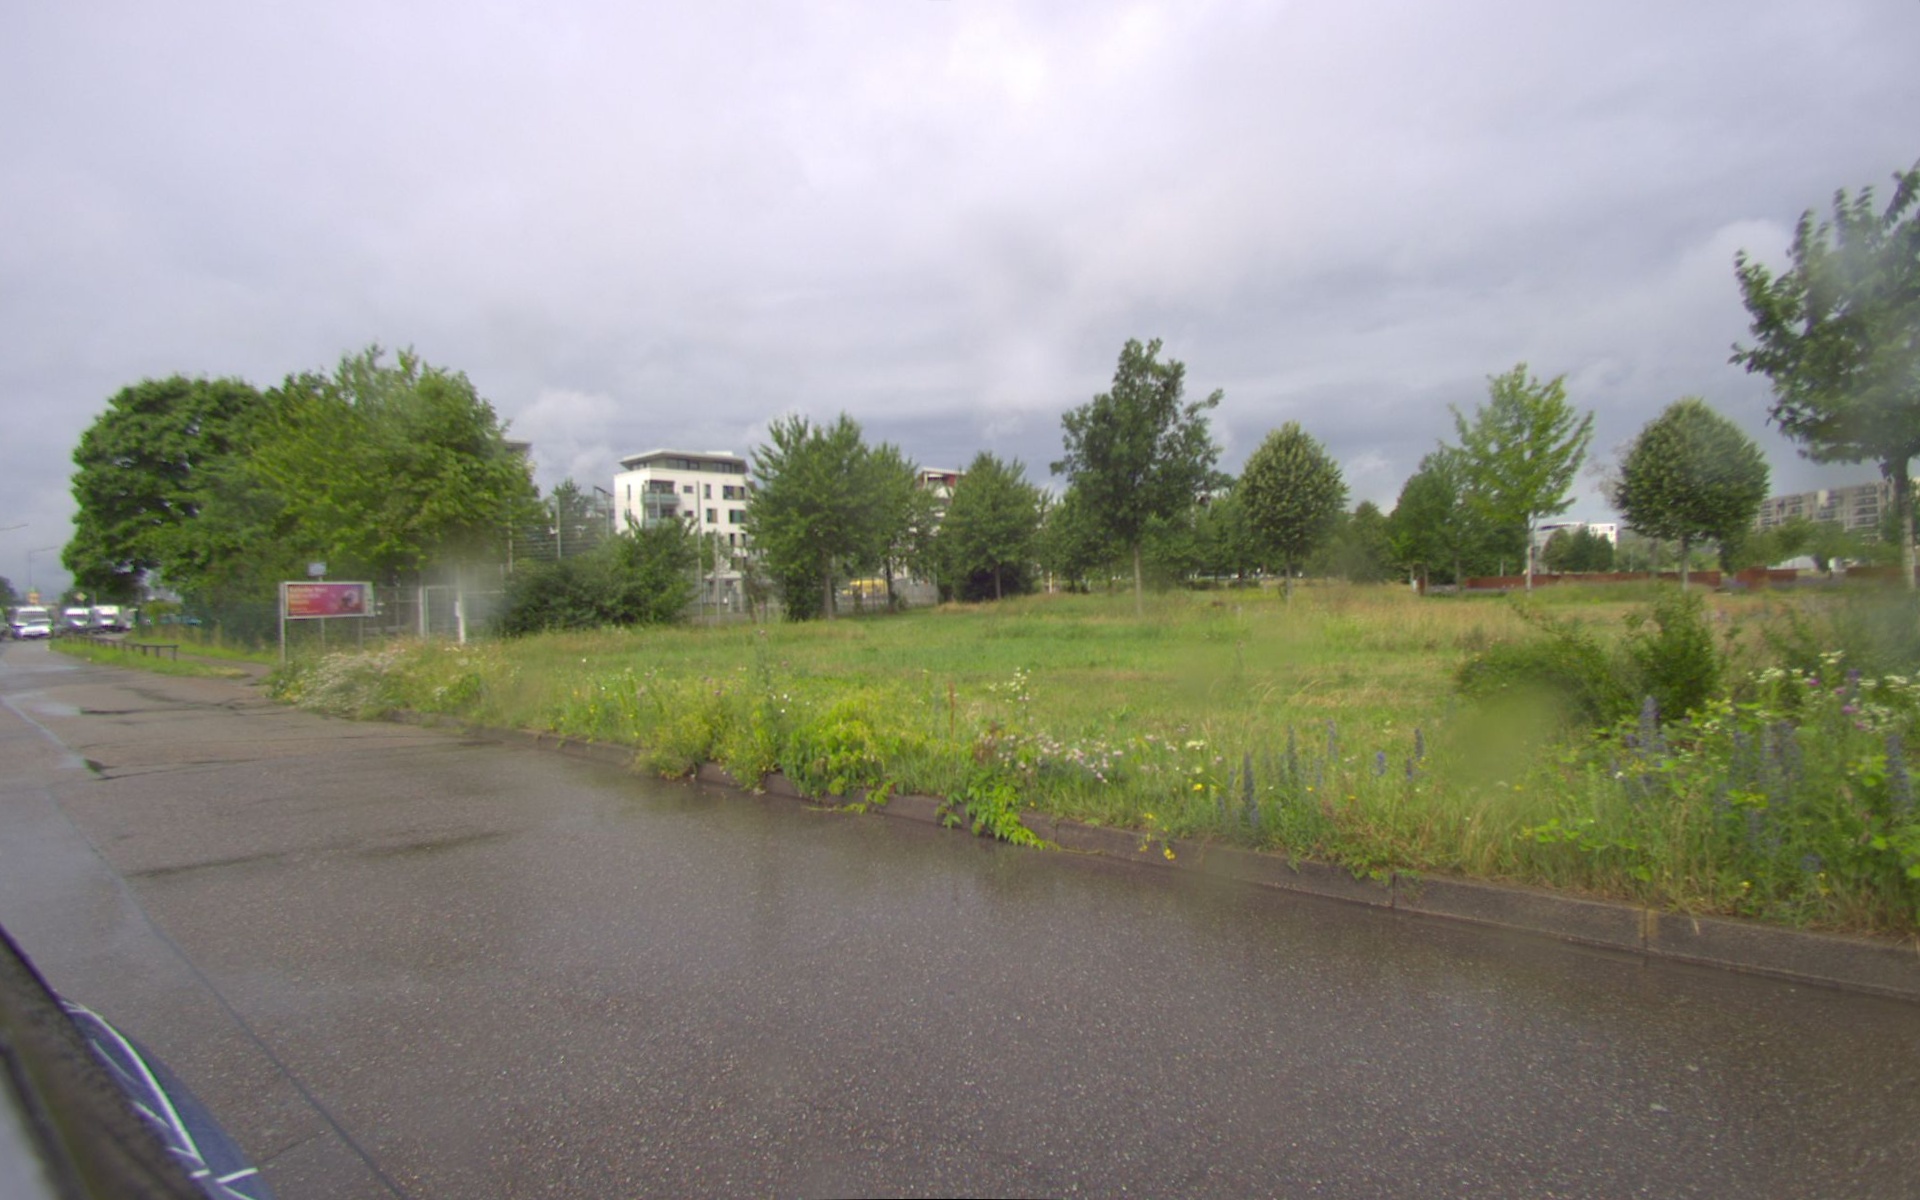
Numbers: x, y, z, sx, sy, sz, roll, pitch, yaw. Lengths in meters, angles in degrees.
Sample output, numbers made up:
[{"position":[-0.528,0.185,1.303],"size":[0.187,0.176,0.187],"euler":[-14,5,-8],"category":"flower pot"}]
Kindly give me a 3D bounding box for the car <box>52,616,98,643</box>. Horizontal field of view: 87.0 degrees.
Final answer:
[{"position":[-87.177,2.849,99.783],"size":[2.039,2.548,6.677],"euler":[0,-1,-29],"category":"car"}]

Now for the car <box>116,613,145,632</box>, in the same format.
[{"position":[-102.355,2.741,124.927],"size":[1.966,2.258,4.577],"euler":[-2,0,-31],"category":"car"}]

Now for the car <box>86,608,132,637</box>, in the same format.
[{"position":[-92.316,2.415,109.888],"size":[2.436,2.978,6.908],"euler":[-1,-1,-28],"category":"car"}]

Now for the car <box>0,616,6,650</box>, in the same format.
[{"position":[-70.120,2.389,71.982],"size":[2.063,2.491,5.965],"euler":[0,0,-31],"category":"car"}]

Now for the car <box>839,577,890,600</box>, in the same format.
[{"position":[-12.147,-1.501,129.105],"size":[6.542,2.633,1.969],"euler":[-5,3,-44],"category":"car"}]

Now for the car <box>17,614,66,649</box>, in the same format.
[{"position":[-78.176,2.655,86.199],"size":[2.115,2.905,5.291],"euler":[1,-1,-32],"category":"car"}]

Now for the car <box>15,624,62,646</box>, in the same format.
[{"position":[-68.856,2.608,75.679],"size":[1.812,1.530,4.370],"euler":[-2,0,-32],"category":"car"}]
